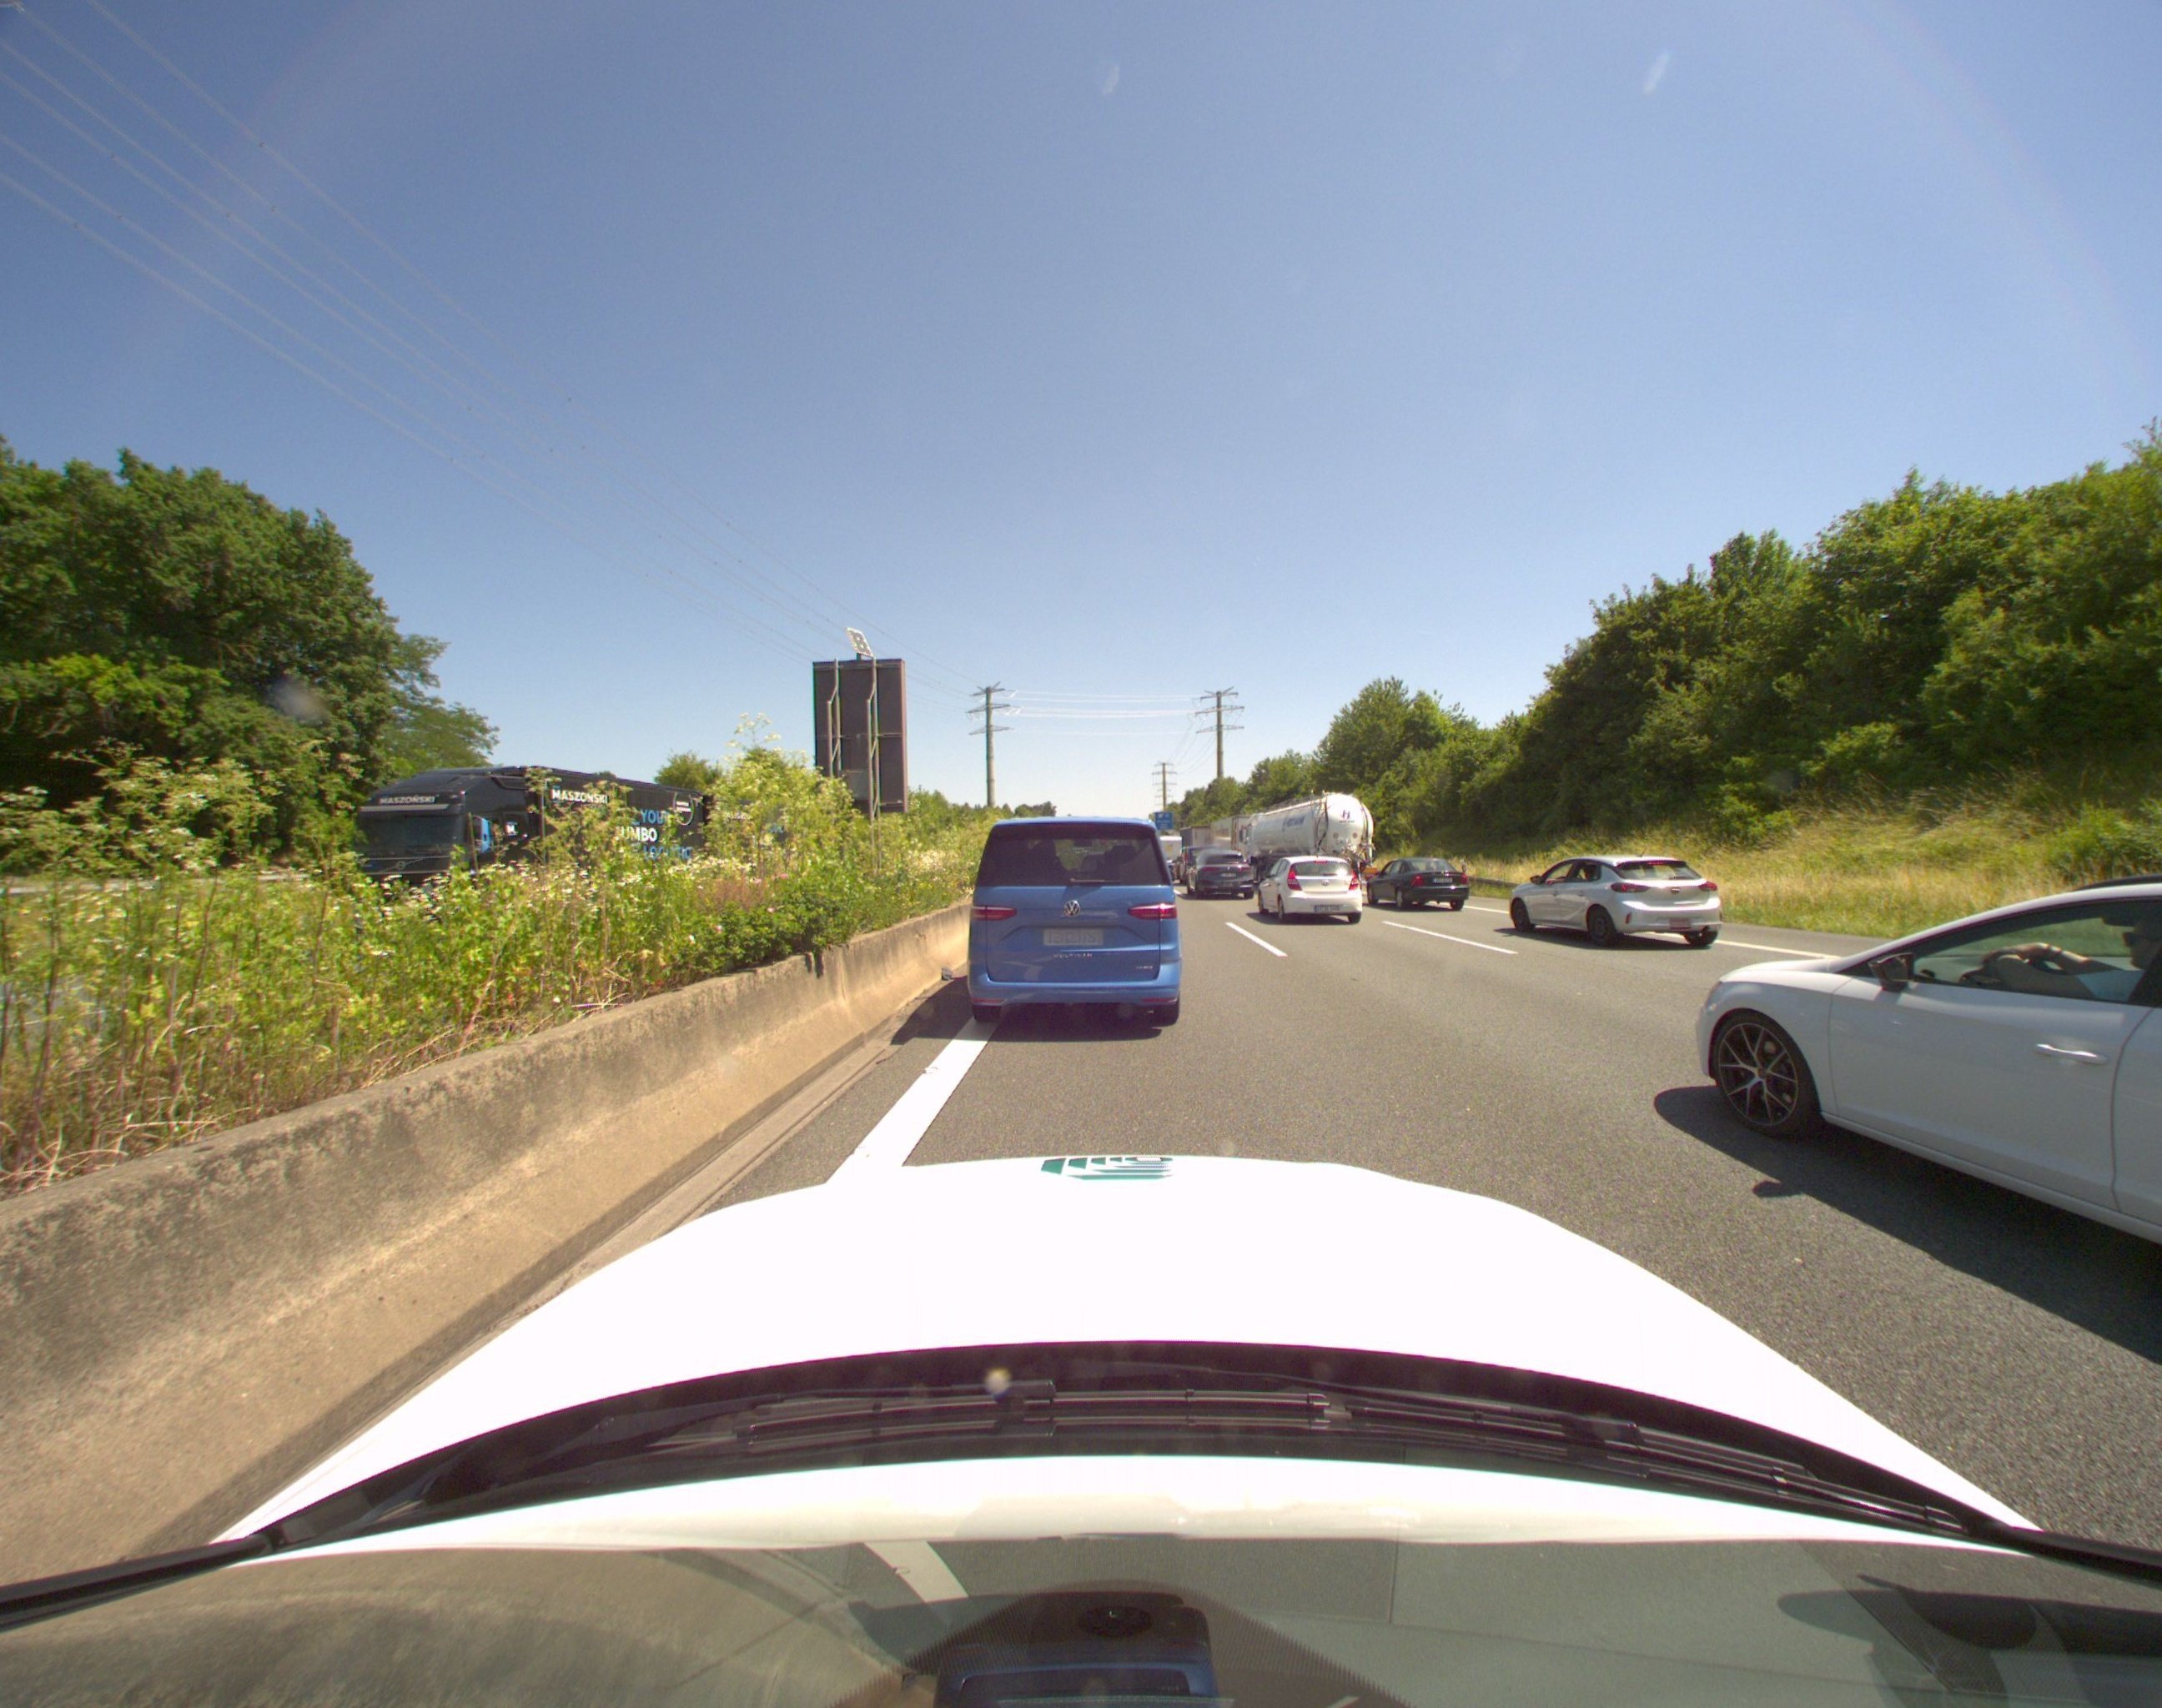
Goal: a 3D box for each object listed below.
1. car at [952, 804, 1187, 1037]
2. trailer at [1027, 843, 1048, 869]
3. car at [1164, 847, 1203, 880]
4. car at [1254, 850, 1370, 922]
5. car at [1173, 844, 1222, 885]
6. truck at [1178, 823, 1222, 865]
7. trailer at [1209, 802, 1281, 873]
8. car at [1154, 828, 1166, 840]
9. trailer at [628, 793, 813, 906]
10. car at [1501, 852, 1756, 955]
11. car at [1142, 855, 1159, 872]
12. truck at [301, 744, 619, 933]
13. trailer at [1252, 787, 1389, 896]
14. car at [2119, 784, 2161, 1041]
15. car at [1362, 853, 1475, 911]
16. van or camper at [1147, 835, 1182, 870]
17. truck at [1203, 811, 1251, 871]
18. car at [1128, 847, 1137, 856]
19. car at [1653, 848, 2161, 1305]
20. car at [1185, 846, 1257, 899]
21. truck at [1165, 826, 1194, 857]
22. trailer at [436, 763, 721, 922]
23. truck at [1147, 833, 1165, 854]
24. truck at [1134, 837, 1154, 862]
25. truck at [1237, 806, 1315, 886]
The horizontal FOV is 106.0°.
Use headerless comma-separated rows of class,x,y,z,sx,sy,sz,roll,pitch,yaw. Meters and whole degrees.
car,-0.010,0.537,8.614,1.912,1.886,4.002,0,0,2
trailer,-8.692,0.443,163.705,3.309,5.047,9.597,-1,-1,3
car,6.354,0.625,51.017,1.917,1.925,4.236,-2,-1,1
car,5.328,0.719,19.284,1.809,1.485,4.003,-2,-1,3
car,5.906,0.534,41.638,1.917,1.925,4.236,-2,-1,1
truck,11.923,-0.864,83.179,2.993,3.766,15.724,-1,-1,3
trailer,11.355,-1.021,57.731,2.901,4.469,12.158,-2,0,2
car,14.552,-3.614,149.721,1.985,2.014,4.002,-1,-1,2
trailer,-13.581,-0.140,31.709,3.170,3.762,8.204,-2,0,2
car,9.047,0.717,13.929,1.724,1.443,4.030,-2,0,2
car,8.375,1.137,98.332,1.828,1.998,4.004,-2,-1,4
truck,-14.004,-0.308,19.056,3.060,3.709,5.465,-1,0,2
trailer,9.787,-0.425,34.906,2.751,3.845,11.490,-2,0,2
car,8.977,0.381,3.895,1.906,1.940,4.860,-2,-1,3
car,9.339,0.749,22.854,1.634,1.416,3.991,-2,-1,3
van or camper,7.682,-0.109,75.437,2.944,3.022,7.109,-1,-1,4
truck,11.595,-0.991,65.023,2.901,4.469,5.144,-2,0,2
car,12.380,-0.523,194.339,1.986,2.126,4.001,-1,-1,2
car,4.312,0.698,2.835,1.740,1.443,4.316,-2,-1,3
car,4.969,0.649,29.487,1.991,1.715,4.628,-2,-1,3
truck,12.930,-1.513,107.814,2.883,3.766,13.355,-1,-1,3
trailer,-13.891,-0.267,23.627,3.113,3.759,7.872,-1,0,2
truck,17.785,-2.426,193.447,3.553,4.517,10.297,-1,-1,2
truck,9.988,-0.593,129.175,2.883,3.766,10.148,-1,-1,3
truck,10.003,-0.388,42.383,2.782,3.836,5.574,-2,0,2
